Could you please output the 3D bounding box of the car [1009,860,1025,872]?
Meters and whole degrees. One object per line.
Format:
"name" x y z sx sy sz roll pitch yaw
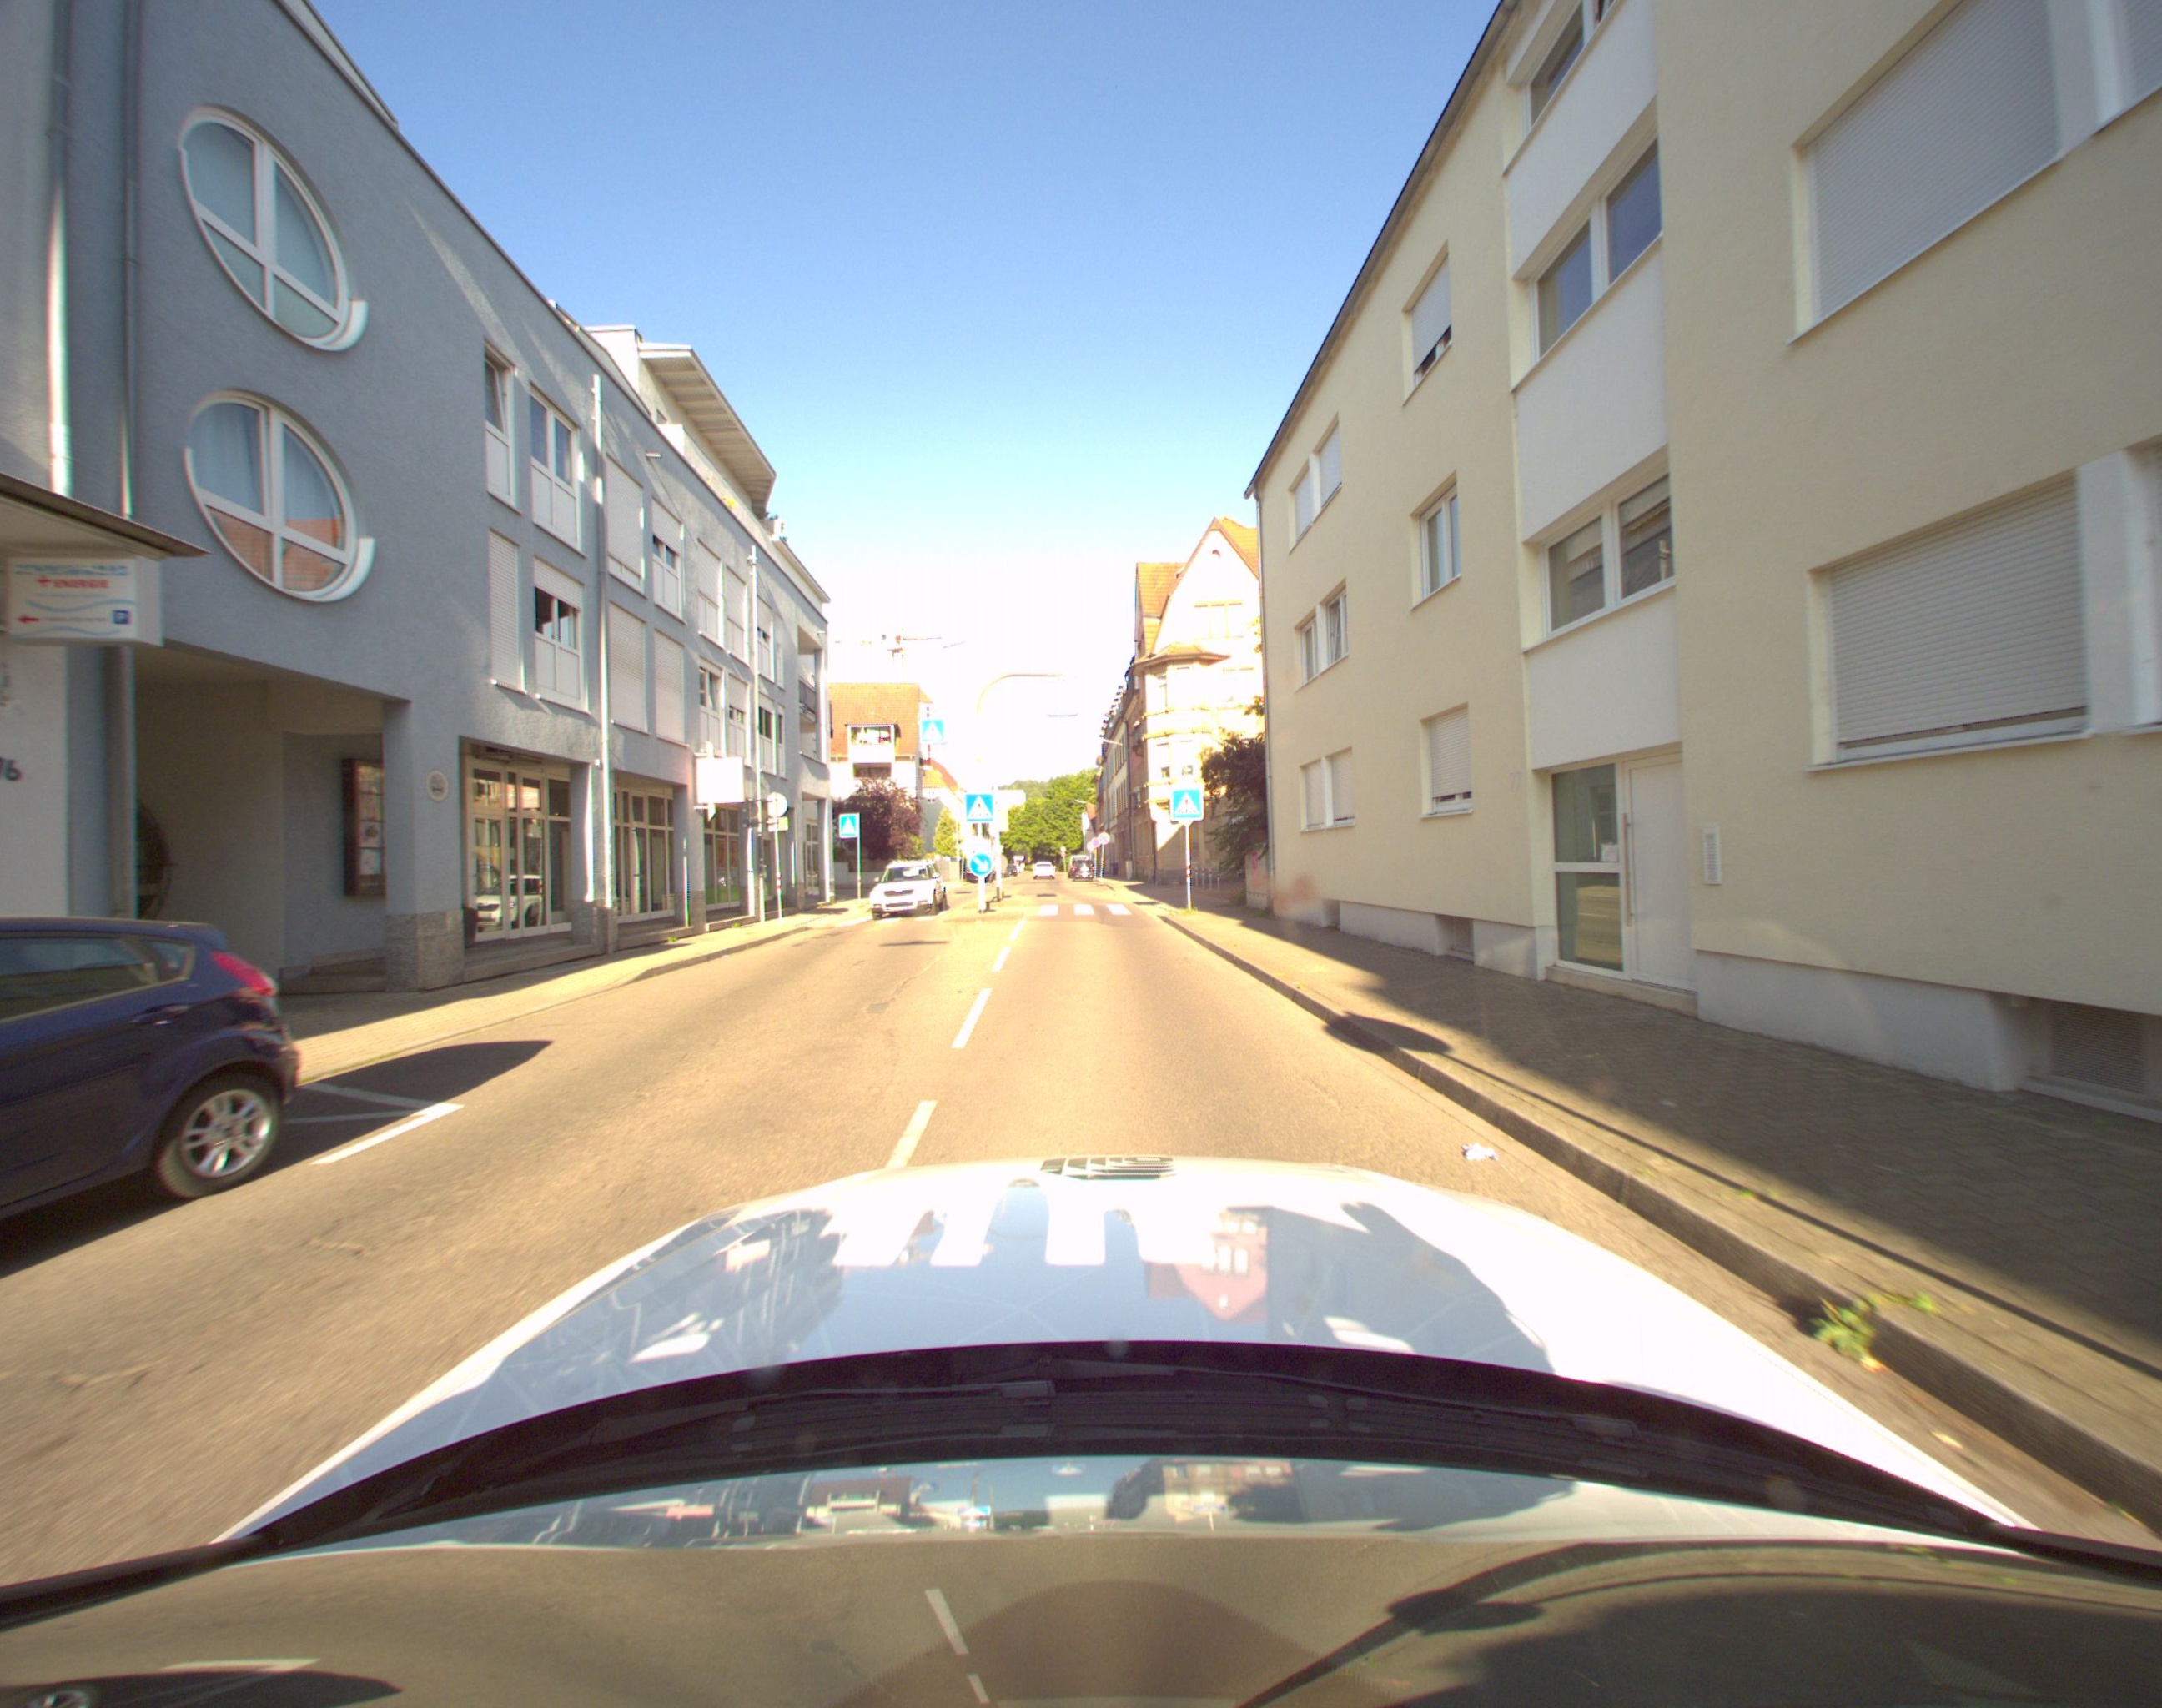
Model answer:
"car" -10.738 1.986 136.132 1.996 2.013 3.982 -2 0 -13

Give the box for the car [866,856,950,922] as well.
"car" -5.096 0.975 24.475 1.804 1.701 4.186 -3 0 -4

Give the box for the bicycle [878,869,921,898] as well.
"bicycle" -8.274 1.342 37.132 1.782 1.184 0.598 -3 0 -2

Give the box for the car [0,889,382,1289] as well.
"car" -5.105 0.989 2.983 1.727 1.499 3.955 -3 0 -3

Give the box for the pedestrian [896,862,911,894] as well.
"pedestrian" -8.206 1.103 37.619 0.556 1.472 0.600 -3 0 -6

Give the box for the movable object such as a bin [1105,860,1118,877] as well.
"movable object such as a bin" 2.554 1.208 68.464 0.870 1.377 0.683 -4 1 -6

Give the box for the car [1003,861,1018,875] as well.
"car" -8.477 1.672 97.909 1.627 1.630 3.170 -3 0 -3

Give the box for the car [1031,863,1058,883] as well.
"car" -3.056 1.542 67.283 1.990 1.466 3.993 -3 0 -5

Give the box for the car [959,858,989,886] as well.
"car" -8.083 1.337 61.957 1.990 2.013 3.994 -2 0 -4

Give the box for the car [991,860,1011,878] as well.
"car" -8.676 1.649 88.857 1.906 1.760 4.123 -4 0 -3

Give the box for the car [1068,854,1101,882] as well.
"car" 0.202 0.956 57.689 2.007 1.853 3.995 -1 0 -4

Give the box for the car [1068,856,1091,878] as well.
"car" -0.080 1.080 69.044 1.812 1.630 4.000 -3 0 0

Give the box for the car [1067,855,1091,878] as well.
"car" -0.206 1.109 73.959 1.837 1.905 3.995 -3 0 -3
